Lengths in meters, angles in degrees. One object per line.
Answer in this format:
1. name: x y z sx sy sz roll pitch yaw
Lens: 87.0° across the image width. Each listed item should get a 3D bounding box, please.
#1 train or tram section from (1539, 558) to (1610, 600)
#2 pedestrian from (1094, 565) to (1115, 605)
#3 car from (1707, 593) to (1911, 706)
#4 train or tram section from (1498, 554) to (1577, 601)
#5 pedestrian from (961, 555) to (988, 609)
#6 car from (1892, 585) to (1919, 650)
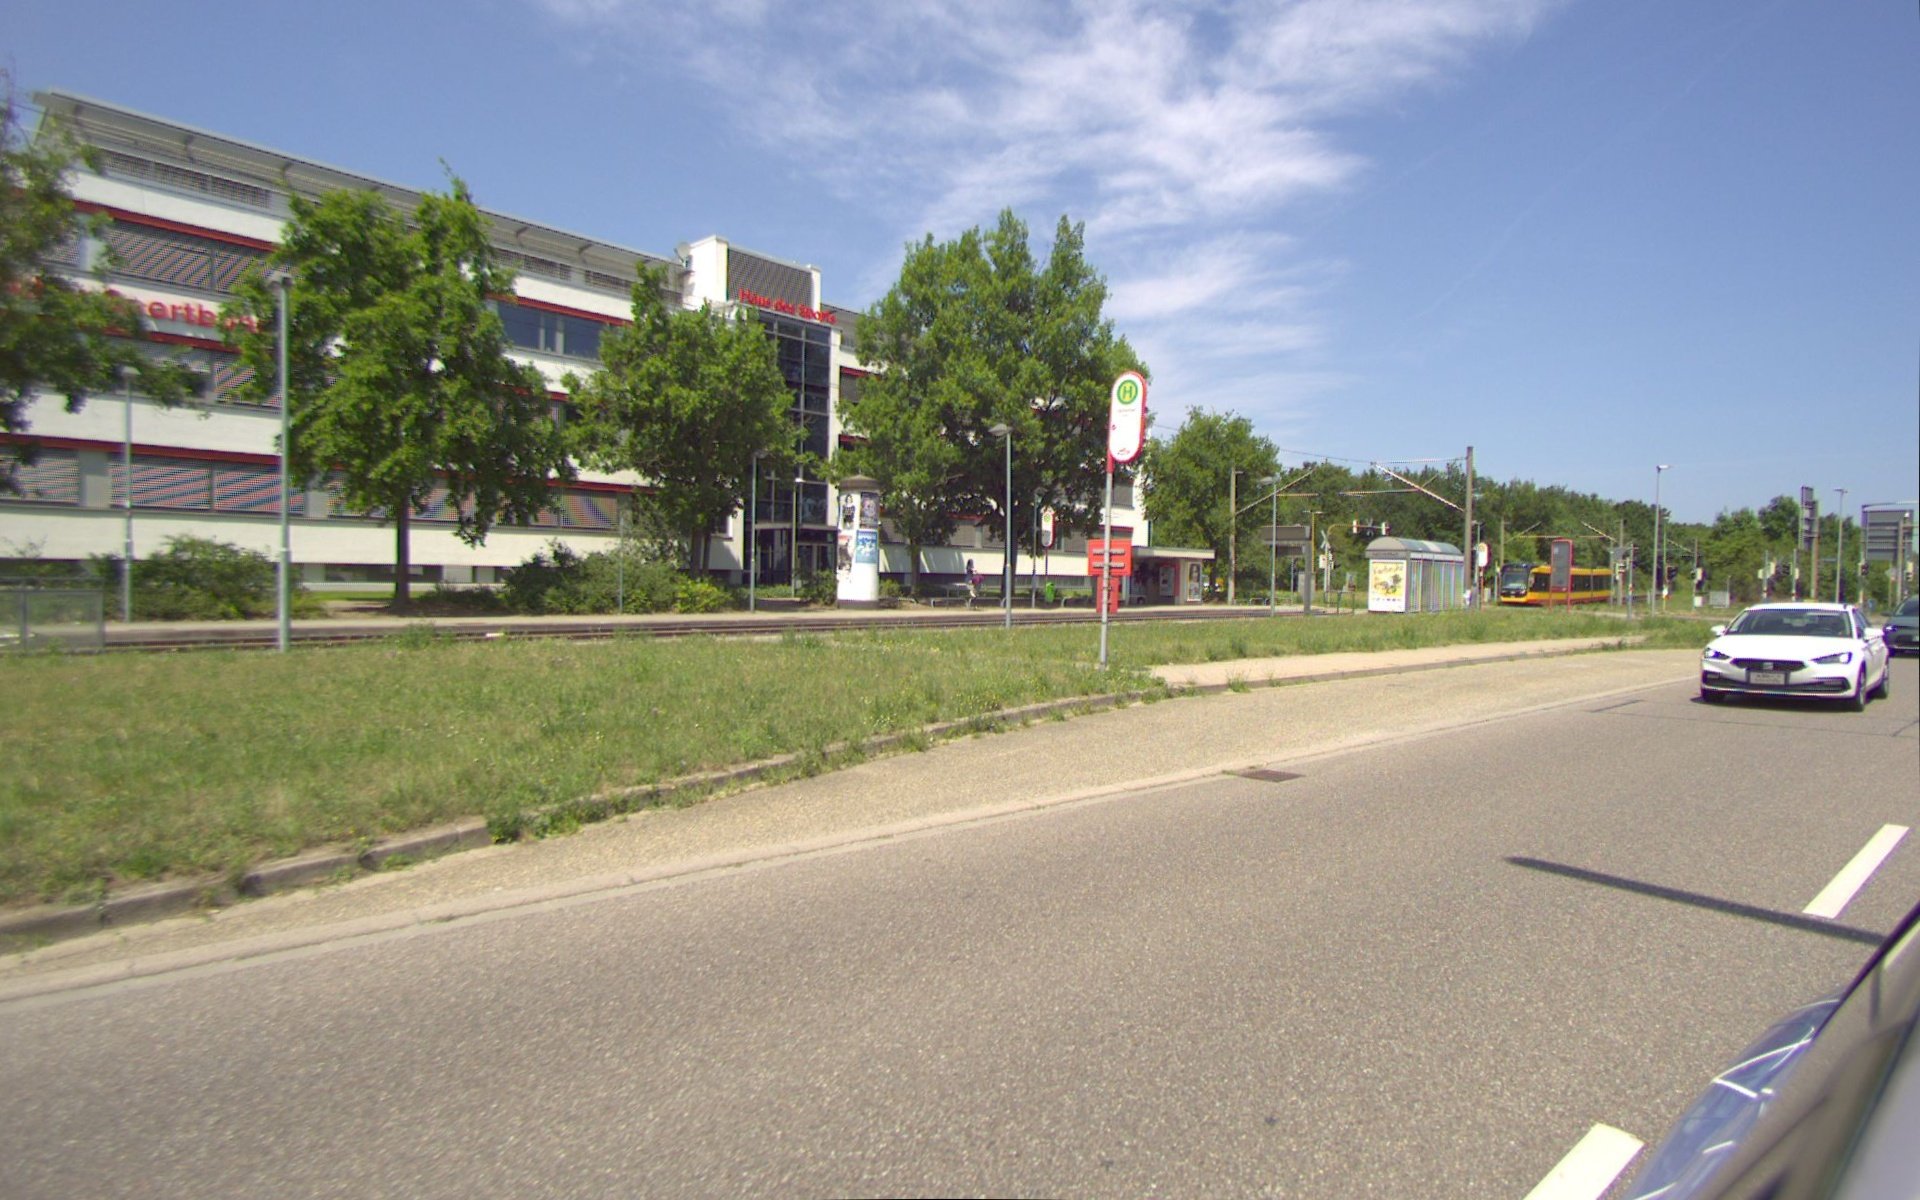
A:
1. train or tram section: 56.039 -1.859 92.093 2.815 3.626 12.303 2 2 44
2. pedestrian: 5.911 -0.628 41.457 0.678 1.628 0.553 -1 0 -41
3. car: 12.624 0.618 14.946 4.374 1.407 1.685 0 1 -42
4. train or tram section: 47.563 -1.806 83.140 2.814 3.626 12.305 2 2 43
5. pedestrian: 0.503 -0.627 35.199 0.691 1.865 0.703 0 0 34
6. car: 25.756 0.462 26.364 3.930 1.616 1.722 0 2 -41
